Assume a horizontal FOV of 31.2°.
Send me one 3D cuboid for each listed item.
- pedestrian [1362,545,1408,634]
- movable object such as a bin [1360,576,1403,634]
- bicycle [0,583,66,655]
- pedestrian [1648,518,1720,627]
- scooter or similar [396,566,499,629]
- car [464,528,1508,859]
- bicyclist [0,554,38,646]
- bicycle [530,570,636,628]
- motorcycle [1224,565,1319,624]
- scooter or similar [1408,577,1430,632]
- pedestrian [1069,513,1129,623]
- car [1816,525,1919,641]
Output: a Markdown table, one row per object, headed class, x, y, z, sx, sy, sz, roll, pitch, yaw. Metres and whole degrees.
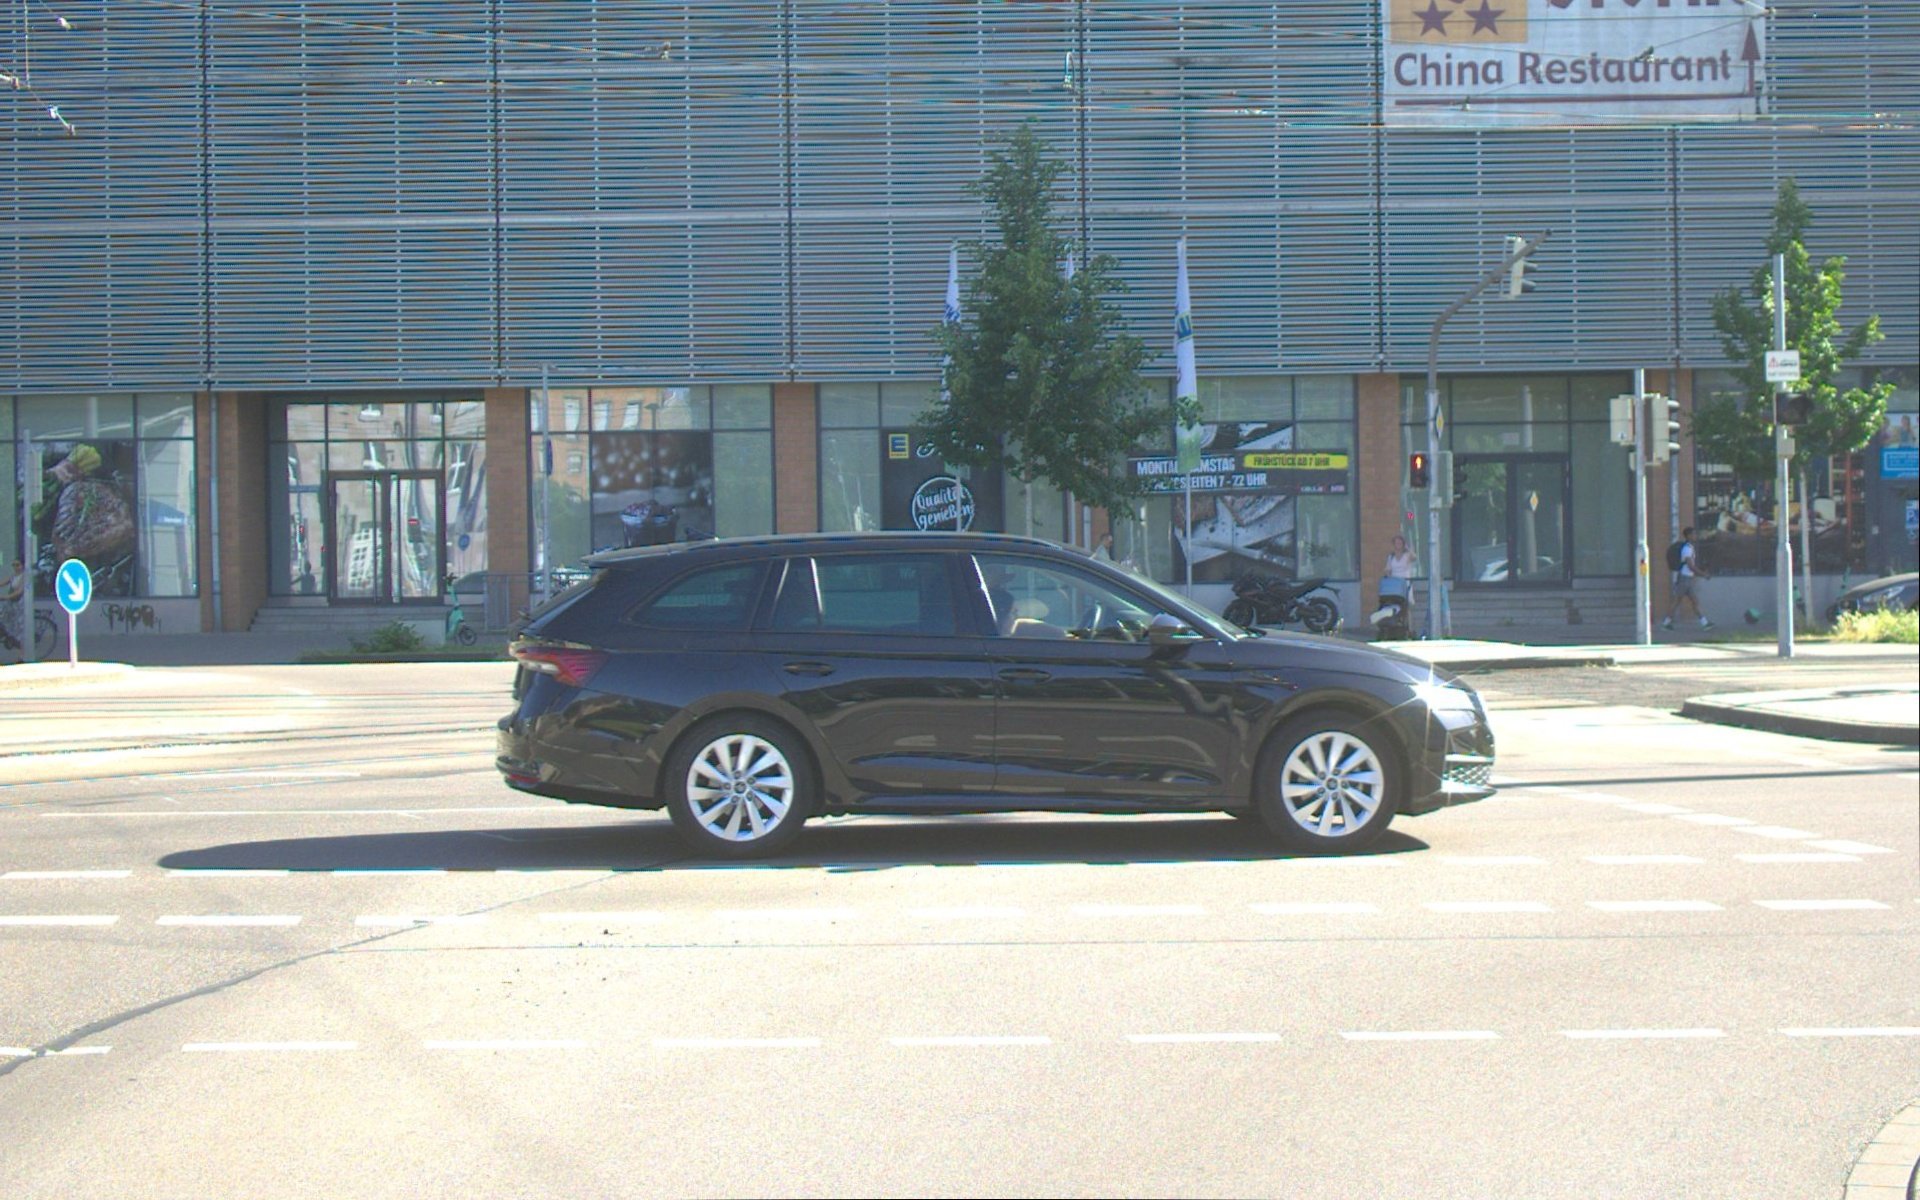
| class | x | y | z | sx | sy | sz | roll | pitch | yaw |
| --- | --- | --- | --- | --- | --- | --- | --- | --- | --- |
| pedestrian | 6.835 | -0.177 | 55.273 | 0.655 | 1.409 | 0.849 | 1 | 0 | 10 |
| movable object such as a bin | 6.716 | 0.078 | 54.812 | 0.613 | 0.901 | 0.968 | 1 | 0 | 10 |
| bicycle | -15.241 | 0.308 | 54.866 | 0.568 | 1.082 | 1.859 | 1 | 3 | 43 |
| pedestrian | 12.397 | -0.478 | 58.874 | 1.012 | 1.822 | 1.035 | -2 | 1 | 3 |
| scooter or similar | -9.074 | -0.048 | 60.930 | 1.792 | 1.062 | 0.613 | 0 | 2 | -8 |
| car | 0.063 | 0.399 | 16.237 | 4.668 | 1.457 | 1.834 | 0 | 1 | -5 |
| bicyclist | -15.275 | -0.001 | 54.786 | 0.675 | 1.422 | 0.847 | 1 | 3 | 43 |
| bicycle | -6.645 | -0.018 | 60.547 | 1.815 | 0.986 | 0.558 | -1 | 2 | -10 |
| motorcycle | 5.499 | -0.102 | 60.640 | 1.640 | 1.001 | 0.446 | 1 | 1 | 6 |
| scooter or similar | 7.355 | 0.075 | 55.096 | 0.295 | 0.870 | 1.003 | 1 | 0 | 10 |
| pedestrian | 2.412 | -0.549 | 59.578 | 0.950 | 1.822 | 0.845 | -2 | -3 | 5 |
| car | 13.758 | -0.143 | 45.850 | 4.146 | 1.464 | 1.841 | 3 | 0 | -1 |
